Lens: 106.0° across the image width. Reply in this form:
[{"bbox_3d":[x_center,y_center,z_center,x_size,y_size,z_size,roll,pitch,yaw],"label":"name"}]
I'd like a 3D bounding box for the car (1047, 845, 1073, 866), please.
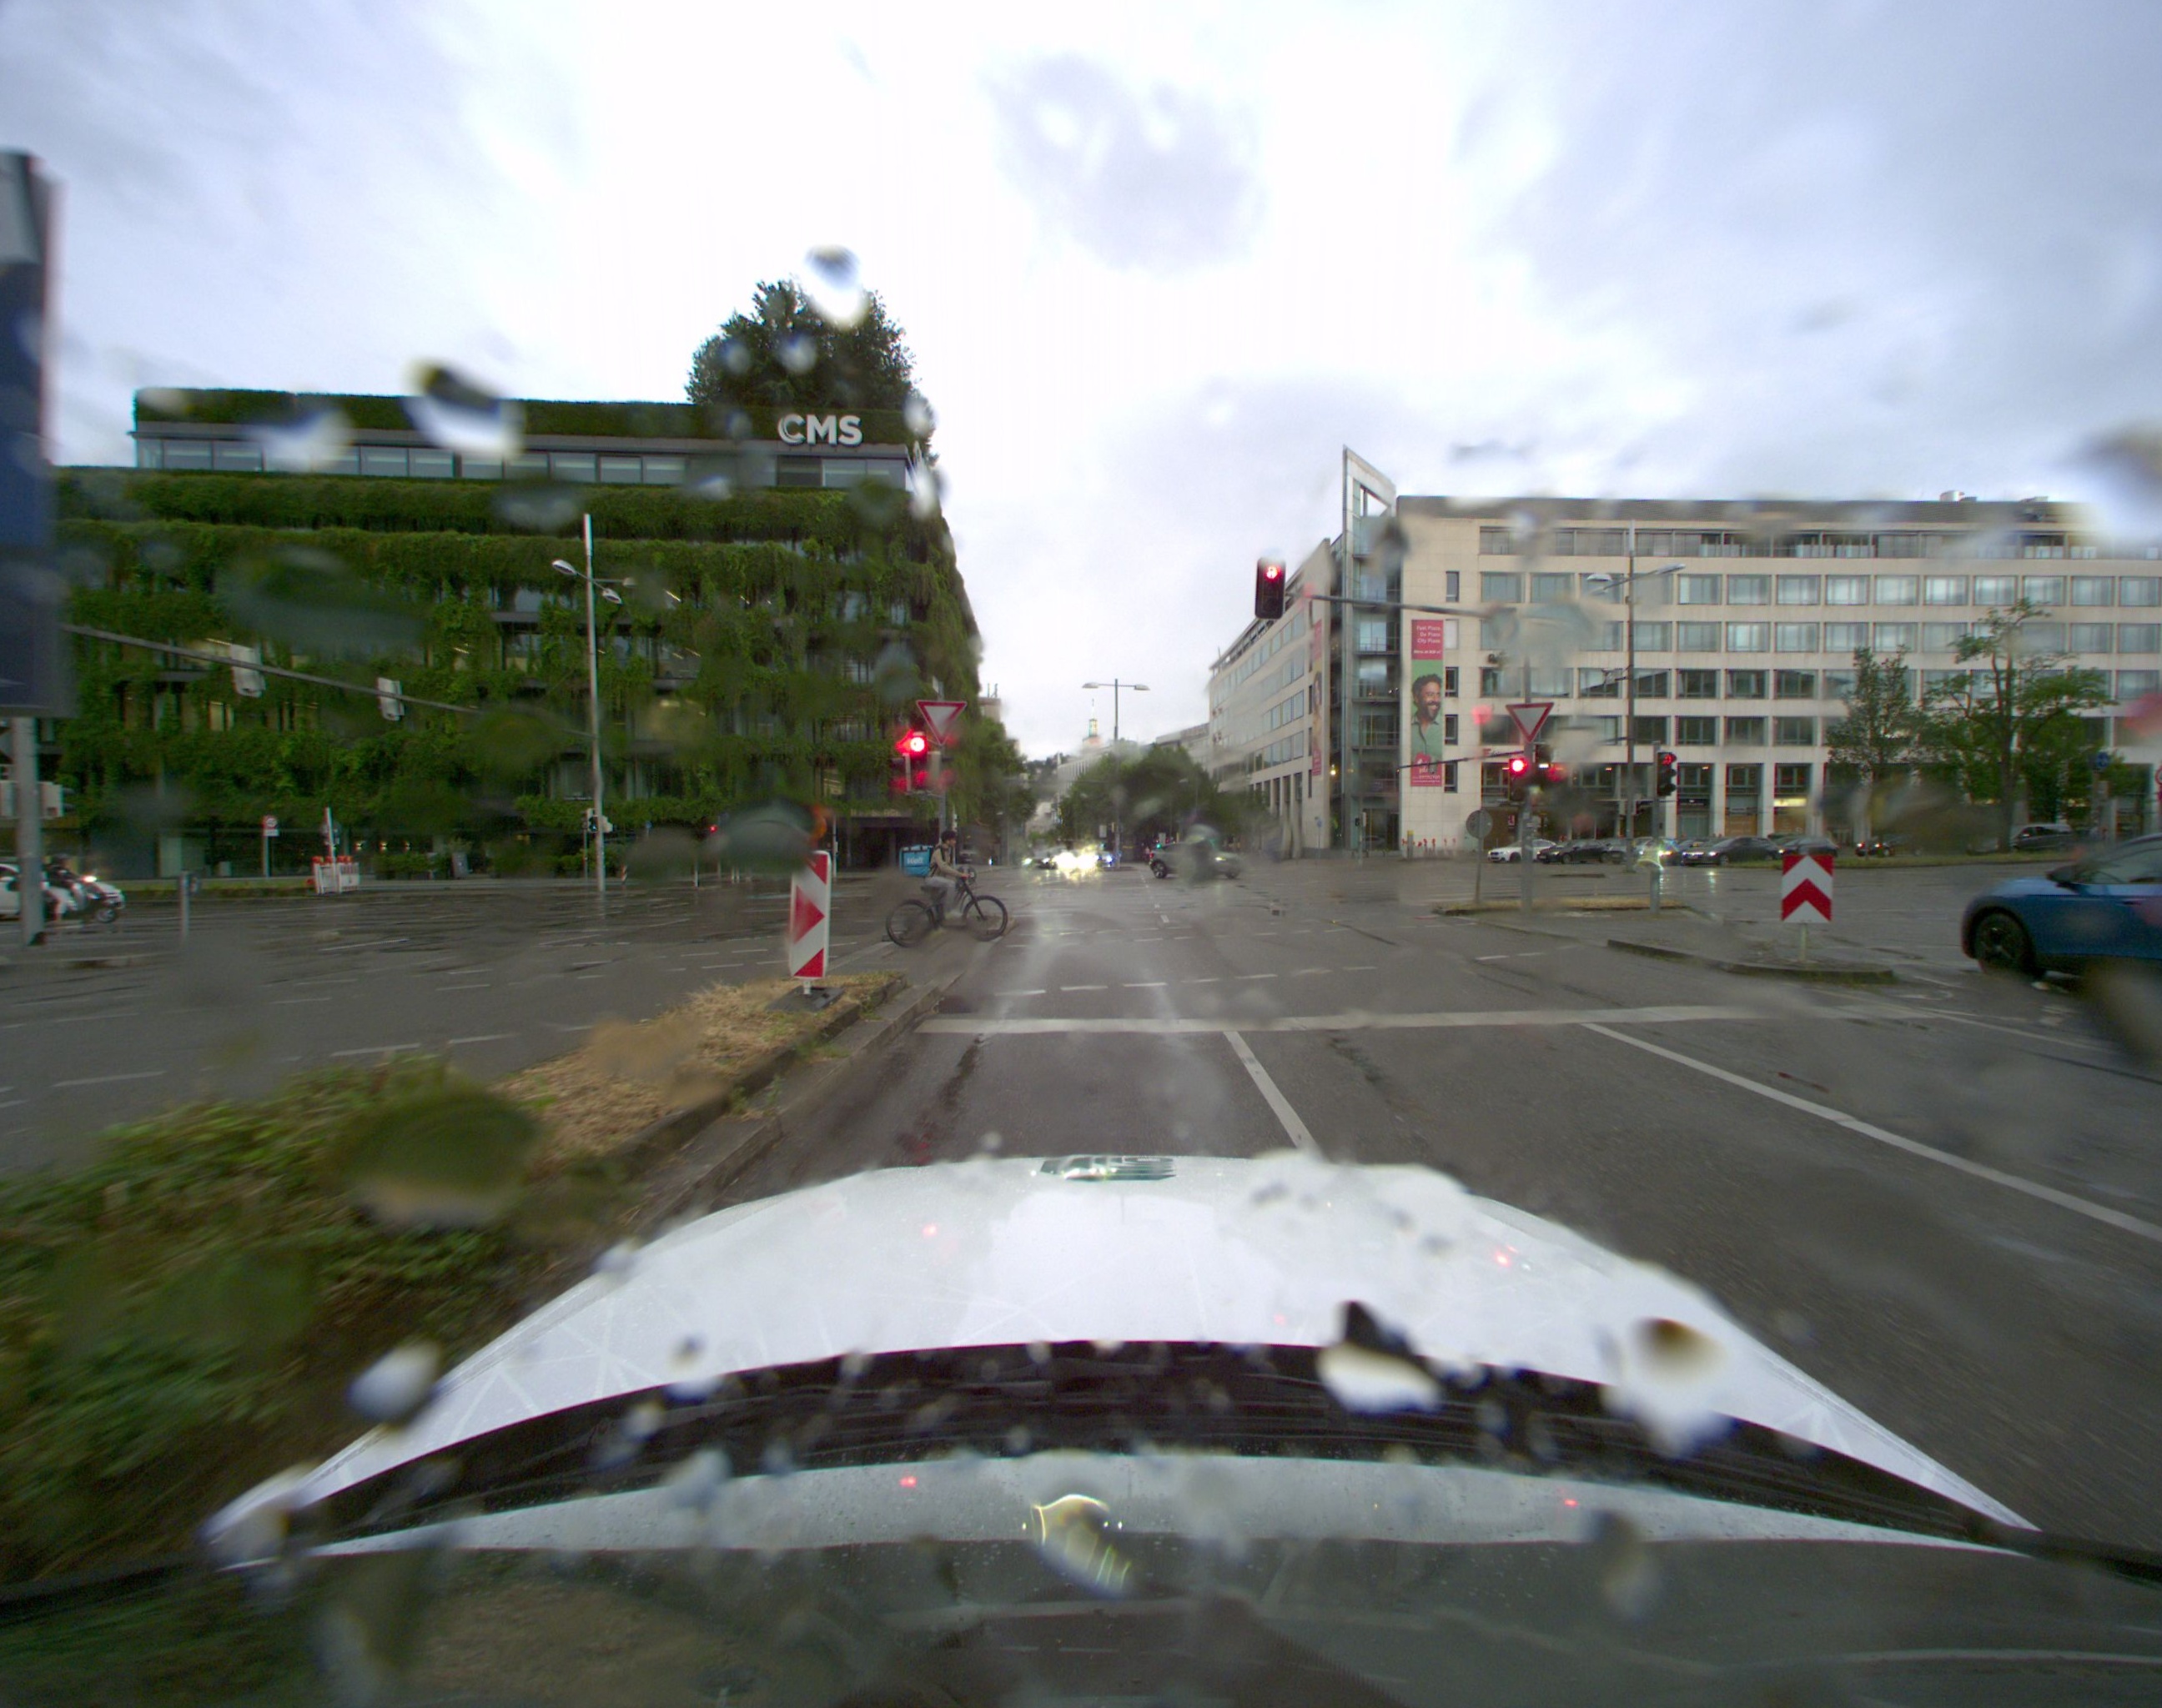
[{"bbox_3d":[-1.989,0.102,74.272,2.171,1.823,4.637,-1,0,-4],"label":"car"}]

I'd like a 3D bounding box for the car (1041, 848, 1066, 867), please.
[{"bbox_3d":[-2.283,0.228,67.291,1.853,1.448,4.614,-1,1,-4],"label":"car"}]

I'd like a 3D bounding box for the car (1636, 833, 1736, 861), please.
[{"bbox_3d":[31.295,-0.367,42.159,4.455,1.348,1.715,-1,0,-13],"label":"car"}]

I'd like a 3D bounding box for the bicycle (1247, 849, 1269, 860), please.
[{"bbox_3d":[15.007,0.043,69.098,1.778,0.934,0.478,-1,0,43],"label":"bicycle"}]

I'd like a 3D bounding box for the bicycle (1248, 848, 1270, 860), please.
[{"bbox_3d":[14.945,0.008,68.354,1.778,0.934,0.478,-1,0,43],"label":"bicycle"}]

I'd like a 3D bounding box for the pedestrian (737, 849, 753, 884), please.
[{"bbox_3d":[-17.228,0.611,41.757,0.744,1.758,0.969,-1,0,-22],"label":"pedestrian"}]

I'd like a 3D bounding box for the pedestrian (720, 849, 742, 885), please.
[{"bbox_3d":[-17.800,0.649,41.414,0.939,1.758,1.163,-1,0,-22],"label":"pedestrian"}]

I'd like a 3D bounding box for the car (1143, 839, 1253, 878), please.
[{"bbox_3d":[5.019,0.180,35.396,2.011,1.550,4.500,-1,1,-42],"label":"car"}]

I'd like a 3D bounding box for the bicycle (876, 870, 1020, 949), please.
[{"bbox_3d":[-2.120,0.843,12.950,2.152,1.103,0.843,-1,0,-19],"label":"bicycle"}]

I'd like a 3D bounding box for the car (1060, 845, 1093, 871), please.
[{"bbox_3d":[-0.260,0.248,53.709,1.986,1.486,4.466,-2,2,1],"label":"car"}]

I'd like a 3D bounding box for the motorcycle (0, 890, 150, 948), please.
[{"bbox_3d":[-23.428,1.488,18.932,2.231,1.210,0.844,-1,0,-15],"label":"motorcycle"}]

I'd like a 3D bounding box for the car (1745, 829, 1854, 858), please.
[{"bbox_3d":[36.783,-0.535,41.696,4.642,1.348,1.918,-1,0,-14],"label":"car"}]

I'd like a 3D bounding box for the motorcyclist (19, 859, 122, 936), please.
[{"bbox_3d":[-23.452,0.991,18.927,1.187,1.703,0.844,-1,0,-15],"label":"motorcyclist"}]

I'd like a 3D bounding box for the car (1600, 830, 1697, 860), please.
[{"bbox_3d":[31.763,-0.514,45.612,4.455,1.598,1.991,-1,0,-13],"label":"car"}]

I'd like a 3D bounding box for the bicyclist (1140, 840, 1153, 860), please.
[{"bbox_3d":[6.467,-0.389,80.352,0.798,1.975,1.101,-1,0,-39],"label":"bicyclist"}]

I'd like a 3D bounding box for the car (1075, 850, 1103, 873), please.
[{"bbox_3d":[0.617,0.548,66.257,1.960,1.655,4.359,-2,2,-3],"label":"car"}]

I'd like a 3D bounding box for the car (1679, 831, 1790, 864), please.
[{"bbox_3d":[31.240,-0.299,38.959,4.452,1.464,1.716,-1,0,-11],"label":"car"}]

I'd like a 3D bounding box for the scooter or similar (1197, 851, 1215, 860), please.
[{"bbox_3d":[12.635,0.169,82.396,1.750,0.878,0.486,-1,0,-18],"label":"scooter or similar"}]

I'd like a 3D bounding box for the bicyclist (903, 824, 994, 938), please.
[{"bbox_3d":[-2.124,0.401,12.948,1.298,1.704,0.843,-1,0,-18],"label":"bicyclist"}]

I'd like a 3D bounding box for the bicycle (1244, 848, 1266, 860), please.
[{"bbox_3d":[14.285,0.025,66.761,1.778,0.934,0.478,-1,0,43],"label":"bicycle"}]

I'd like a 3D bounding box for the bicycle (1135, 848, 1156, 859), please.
[{"bbox_3d":[6.374,-0.039,80.490,0.798,1.117,2.229,-1,0,-39],"label":"bicycle"}]

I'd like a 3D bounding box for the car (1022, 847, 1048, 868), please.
[{"bbox_3d":[-3.378,0.235,60.912,1.852,1.448,4.617,-1,1,-2],"label":"car"}]

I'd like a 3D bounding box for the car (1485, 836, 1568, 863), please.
[{"bbox_3d":[28.123,-0.286,51.474,4.456,1.598,1.991,-1,0,-14],"label":"car"}]

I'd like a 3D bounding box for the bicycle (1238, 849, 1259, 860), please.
[{"bbox_3d":[15.070,0.029,73.428,1.786,0.934,0.476,-1,0,4],"label":"bicycle"}]

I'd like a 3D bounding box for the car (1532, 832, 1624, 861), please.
[{"bbox_3d":[29.297,-0.464,48.091,4.451,1.598,1.993,-1,0,-10],"label":"car"}]

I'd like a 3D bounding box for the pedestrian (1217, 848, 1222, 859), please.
[{"bbox_3d":[15.309,-0.023,90.069,0.352,1.173,0.414,-1,0,-7],"label":"pedestrian"}]

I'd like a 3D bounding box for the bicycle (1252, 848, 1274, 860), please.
[{"bbox_3d":[15.075,0.005,67.384,1.778,0.934,0.478,-1,0,43],"label":"bicycle"}]

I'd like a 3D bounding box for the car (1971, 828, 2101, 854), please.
[{"bbox_3d":[52.490,-0.704,44.858,1.936,1.348,4.597,-1,0,-39],"label":"car"}]

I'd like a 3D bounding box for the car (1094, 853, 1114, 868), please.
[{"bbox_3d":[2.438,0.668,87.565,1.988,1.443,4.554,-1,0,-1],"label":"car"}]

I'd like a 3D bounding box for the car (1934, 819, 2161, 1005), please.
[{"bbox_3d":[9.790,0.459,6.820,1.690,1.529,4.446,-1,0,17],"label":"car"}]

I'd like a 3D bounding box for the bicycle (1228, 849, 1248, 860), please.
[{"bbox_3d":[14.504,0.037,75.292,1.786,0.934,0.476,-1,0,4],"label":"bicycle"}]

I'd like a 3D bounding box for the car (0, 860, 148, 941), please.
[{"bbox_3d":[-27.060,1.172,20.960,3.451,1.922,1.992,-1,0,-11],"label":"car"}]

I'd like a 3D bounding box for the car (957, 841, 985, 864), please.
[{"bbox_3d":[-9.604,-0.130,71.443,1.989,1.895,4.461,-1,0,-2],"label":"car"}]
